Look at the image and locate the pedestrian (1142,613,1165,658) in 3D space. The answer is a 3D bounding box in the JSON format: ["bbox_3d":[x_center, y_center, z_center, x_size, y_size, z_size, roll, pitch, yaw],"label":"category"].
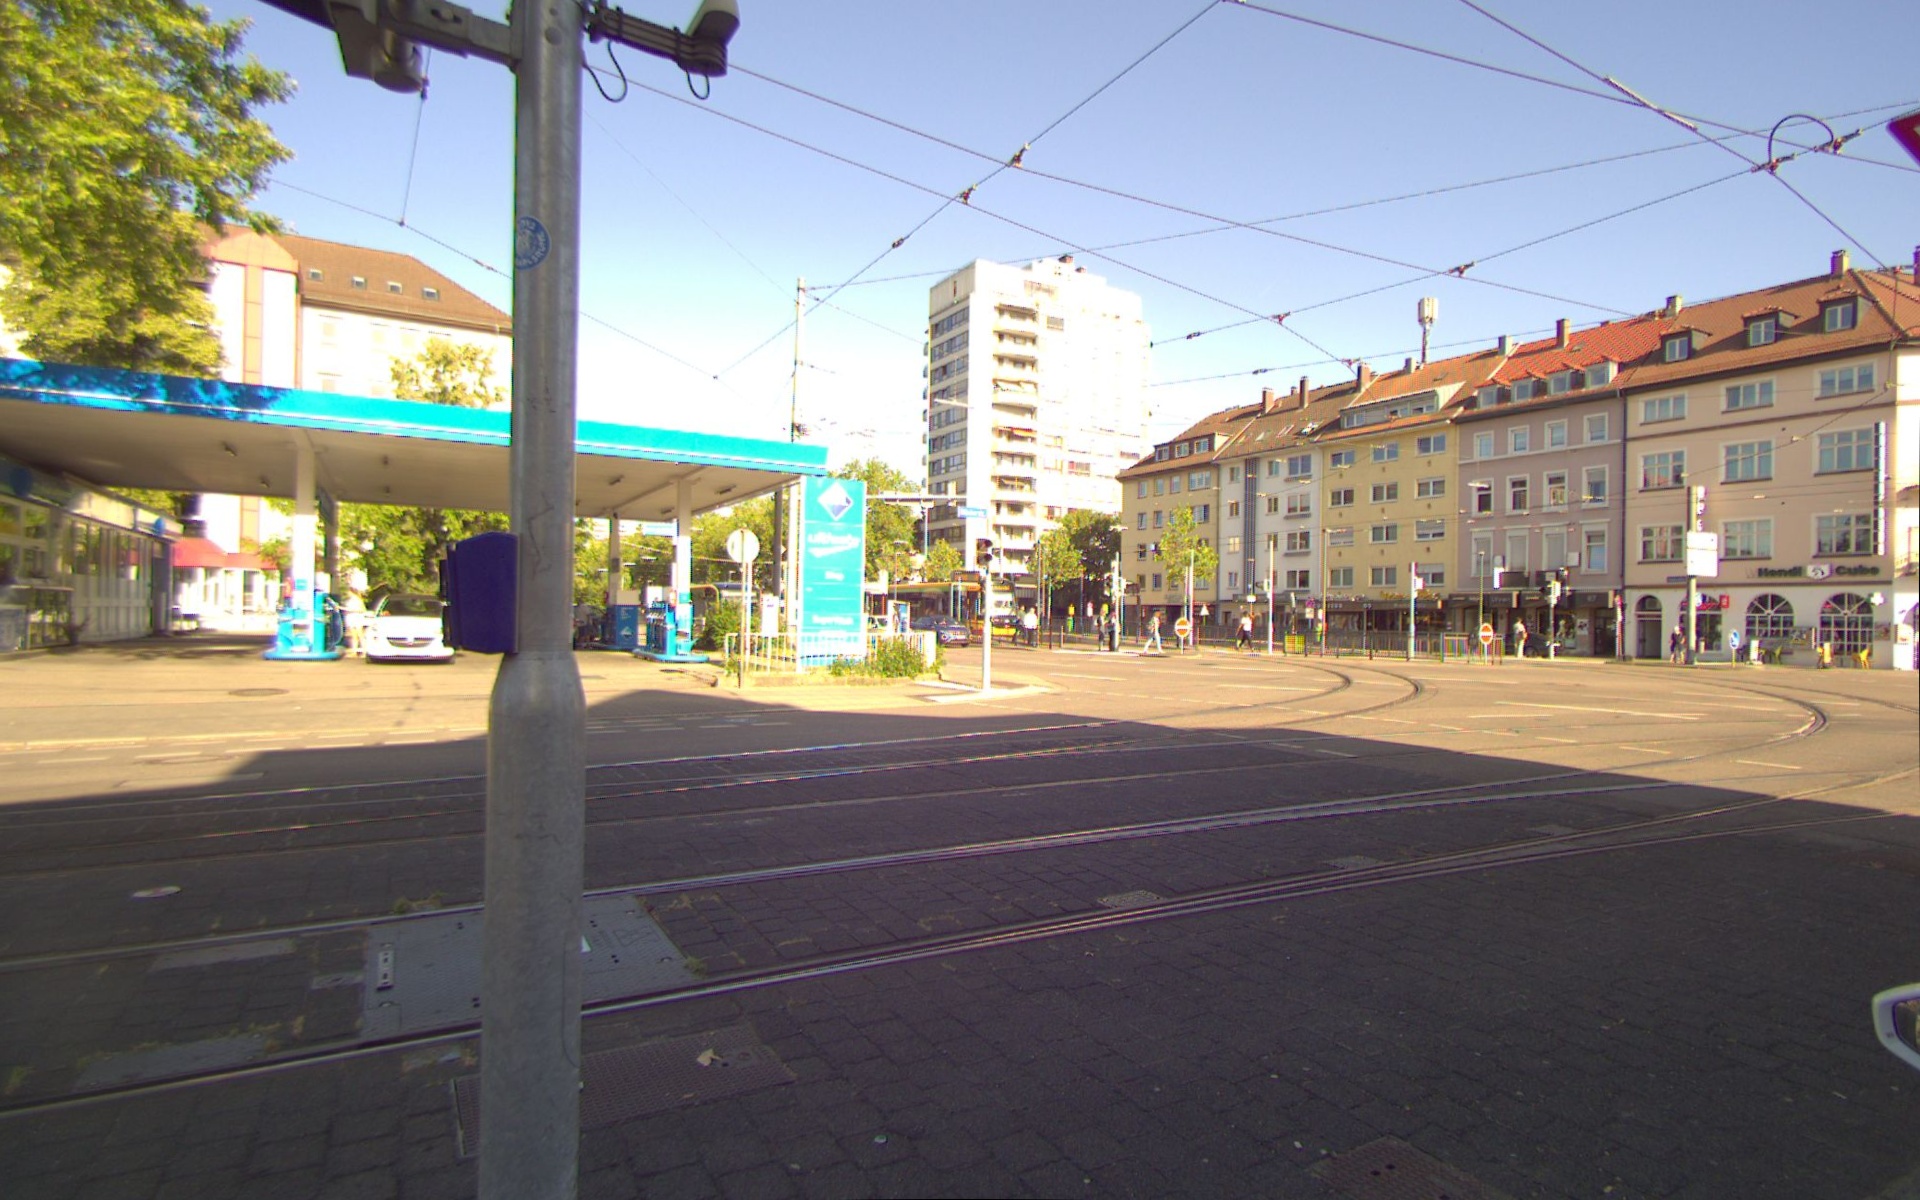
[{"bbox_3d":[7.468,1.368,38.779,0.732,1.721,0.555,1,-1,-5],"label":"pedestrian"}]

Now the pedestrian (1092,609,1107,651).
[{"bbox_3d":[5.836,1.260,42.070,0.486,1.721,0.558,1,-1,20],"label":"pedestrian"}]

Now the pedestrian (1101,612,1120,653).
[{"bbox_3d":[6.141,1.329,40.917,0.698,1.646,0.800,1,-1,11],"label":"pedestrian"}]

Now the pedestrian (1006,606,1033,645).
[{"bbox_3d":[2.813,1.199,47.656,0.902,1.826,0.887,1,-1,-33],"label":"pedestrian"}]

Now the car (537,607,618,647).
[{"bbox_3d":[-17.204,1.211,45.382,1.960,1.685,4.001,1,-1,2],"label":"car"}]

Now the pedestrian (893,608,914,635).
[{"bbox_3d":[-3.428,1.301,60.962,0.902,1.646,0.887,1,-1,-33],"label":"pedestrian"}]

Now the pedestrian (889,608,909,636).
[{"bbox_3d":[-3.619,1.298,59.541,0.902,1.646,0.887,1,-1,-33],"label":"pedestrian"}]

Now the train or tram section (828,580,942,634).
[{"bbox_3d":[-5.249,0.521,67.580,3.252,3.335,10.157,1,-1,-33],"label":"train or tram section"}]

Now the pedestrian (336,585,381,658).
[{"bbox_3d":[-13.903,0.504,23.234,0.801,1.652,0.643,1,-1,-24],"label":"pedestrian"}]

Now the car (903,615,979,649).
[{"bbox_3d":[-0.959,1.492,48.346,1.937,1.475,4.077,1,0,-30],"label":"car"}]

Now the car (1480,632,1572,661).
[{"bbox_3d":[30.775,2.500,54.711,1.980,1.483,3.962,1,-1,-34],"label":"car"}]

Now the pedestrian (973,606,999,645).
[{"bbox_3d":[1.257,1.224,48.405,0.902,1.826,0.887,1,-1,-33],"label":"pedestrian"}]

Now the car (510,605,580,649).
[{"bbox_3d":[-13.503,0.864,32.576,1.752,1.332,3.520,1,-1,-28],"label":"car"}]

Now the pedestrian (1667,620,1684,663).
[{"bbox_3d":[34.210,1.987,48.016,0.498,2.040,0.507,1,-1,-27],"label":"pedestrian"}]

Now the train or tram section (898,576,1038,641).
[{"bbox_3d":[0.231,0.518,58.962,3.252,3.459,10.157,1,-1,-33],"label":"train or tram section"}]

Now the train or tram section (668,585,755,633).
[{"bbox_3d":[-15.030,0.451,60.038,2.233,2.627,10.398,2,0,-30],"label":"train or tram section"}]

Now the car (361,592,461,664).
[{"bbox_3d":[-12.274,0.607,22.432,1.773,1.461,3.968,2,-1,-30],"label":"car"}]

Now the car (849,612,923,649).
[{"bbox_3d":[-3.507,1.394,46.804,1.976,1.615,3.970,1,-1,-29],"label":"car"}]

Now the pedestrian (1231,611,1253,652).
[{"bbox_3d":[11.884,1.317,42.350,0.684,1.721,0.781,1,-1,-4],"label":"pedestrian"}]

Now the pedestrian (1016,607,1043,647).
[{"bbox_3d":[3.226,1.234,46.473,0.902,1.826,0.887,1,-1,-33],"label":"pedestrian"}]

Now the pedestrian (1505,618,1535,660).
[{"bbox_3d":[24.495,1.698,43.952,0.801,1.842,0.871,1,-1,-29],"label":"pedestrian"}]

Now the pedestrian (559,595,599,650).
[{"bbox_3d":[-12.877,0.773,33.991,0.893,1.826,0.896,1,-1,14],"label":"pedestrian"}]
